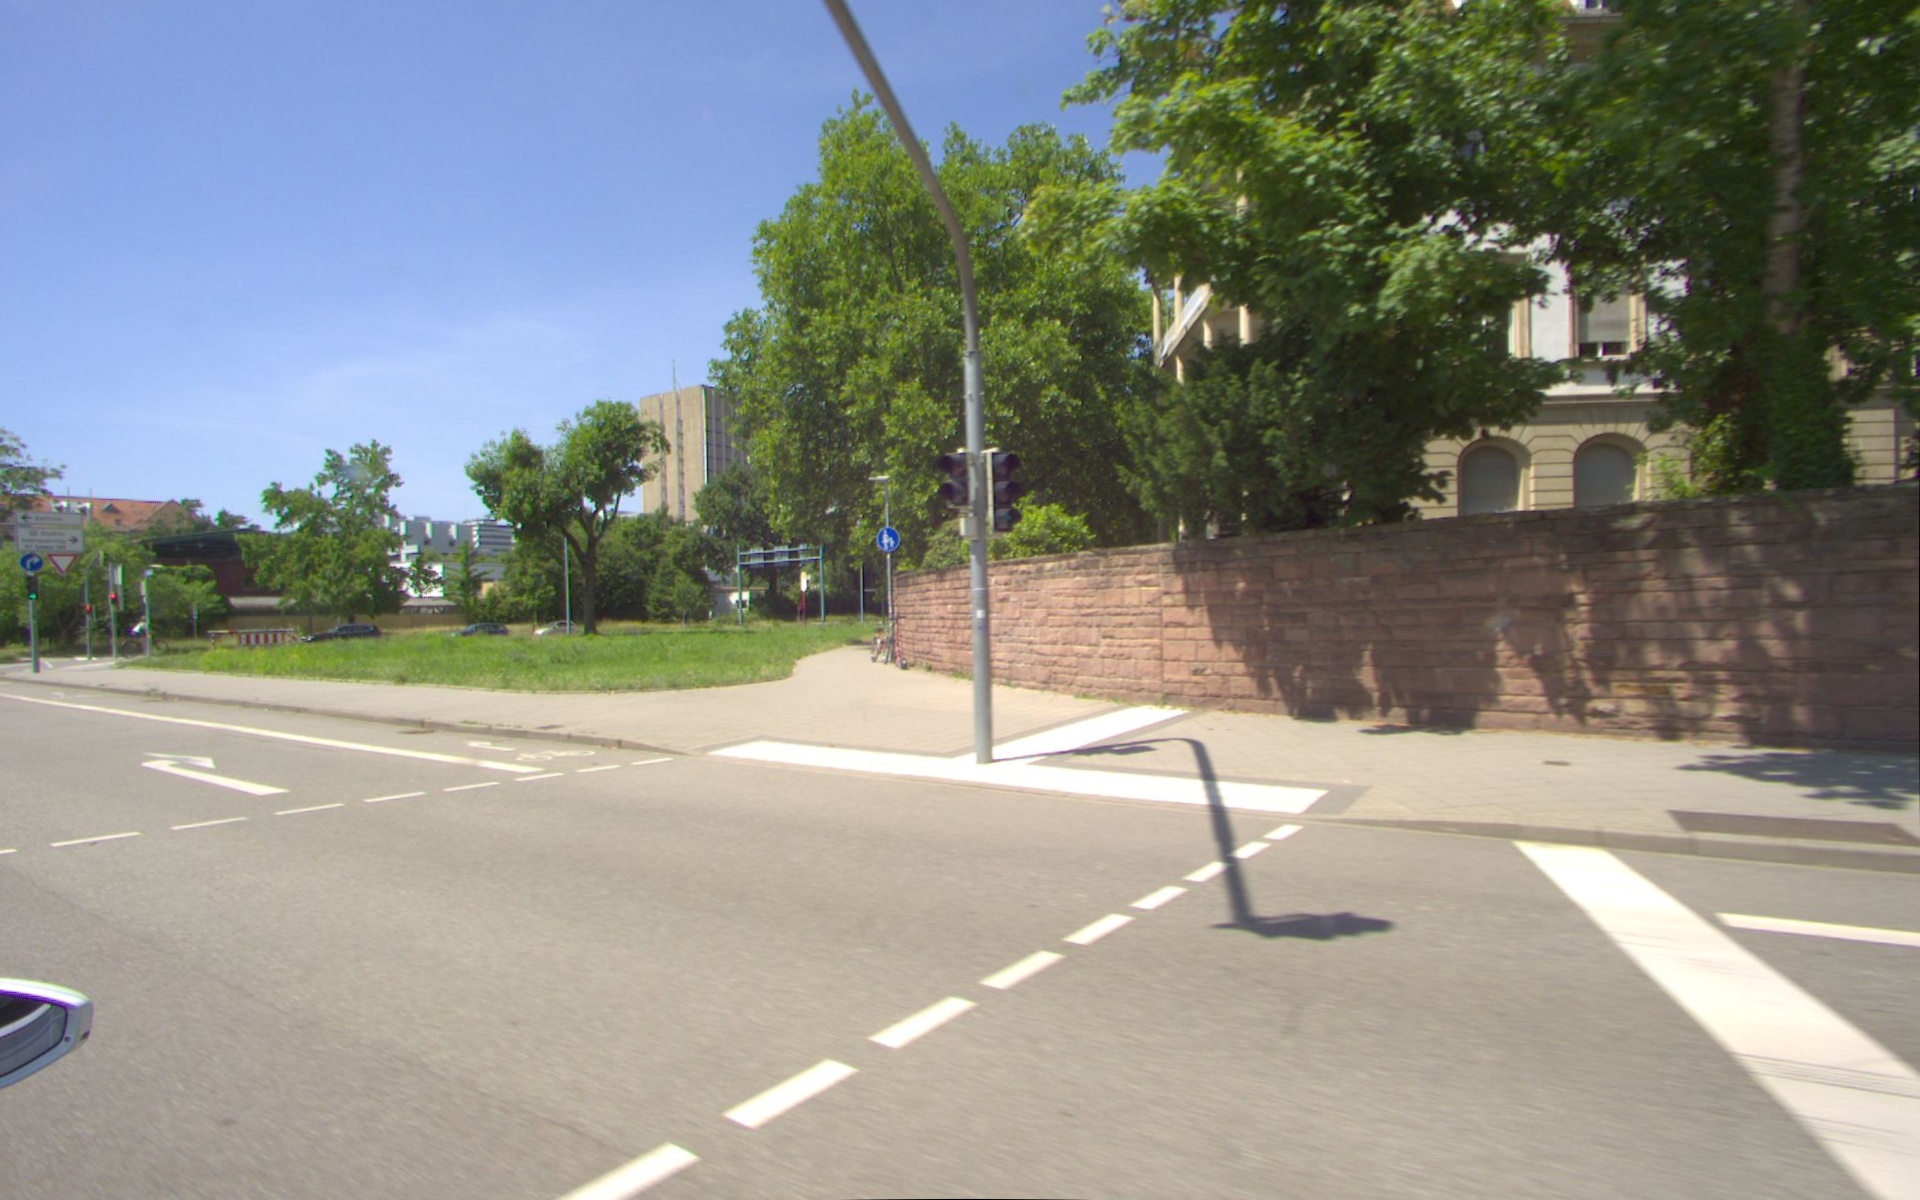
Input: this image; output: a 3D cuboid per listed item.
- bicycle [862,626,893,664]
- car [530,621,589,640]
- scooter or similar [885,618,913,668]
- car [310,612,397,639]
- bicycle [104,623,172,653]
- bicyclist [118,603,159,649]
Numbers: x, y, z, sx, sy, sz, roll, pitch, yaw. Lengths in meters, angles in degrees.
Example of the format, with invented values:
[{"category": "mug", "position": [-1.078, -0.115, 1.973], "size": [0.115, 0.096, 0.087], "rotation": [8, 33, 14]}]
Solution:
[{"category": "bicycle", "position": [-2.134, 1.142, 25.635], "size": [0.666, 0.940, 1.775], "rotation": [0, -2, -9]}, {"category": "car", "position": [-31.117, 2.401, 77.950], "size": [1.736, 1.457, 3.977], "rotation": [-1, -2, 35]}, {"category": "scooter or similar", "position": [-1.425, 0.987, 23.224], "size": [0.368, 1.122, 1.347], "rotation": [0, -2, -16]}, {"category": "car", "position": [-39.251, 1.626, 64.887], "size": [1.690, 1.607, 4.517], "rotation": [-2, 0, 42]}, {"category": "bicycle", "position": [-34.701, 1.595, 42.293], "size": [0.513, 1.253, 2.184], "rotation": [-1, -2, 28]}, {"category": "bicyclist", "position": [-34.623, 1.086, 42.211], "size": [0.698, 1.911, 1.134], "rotation": [-1, -2, 27]}]
